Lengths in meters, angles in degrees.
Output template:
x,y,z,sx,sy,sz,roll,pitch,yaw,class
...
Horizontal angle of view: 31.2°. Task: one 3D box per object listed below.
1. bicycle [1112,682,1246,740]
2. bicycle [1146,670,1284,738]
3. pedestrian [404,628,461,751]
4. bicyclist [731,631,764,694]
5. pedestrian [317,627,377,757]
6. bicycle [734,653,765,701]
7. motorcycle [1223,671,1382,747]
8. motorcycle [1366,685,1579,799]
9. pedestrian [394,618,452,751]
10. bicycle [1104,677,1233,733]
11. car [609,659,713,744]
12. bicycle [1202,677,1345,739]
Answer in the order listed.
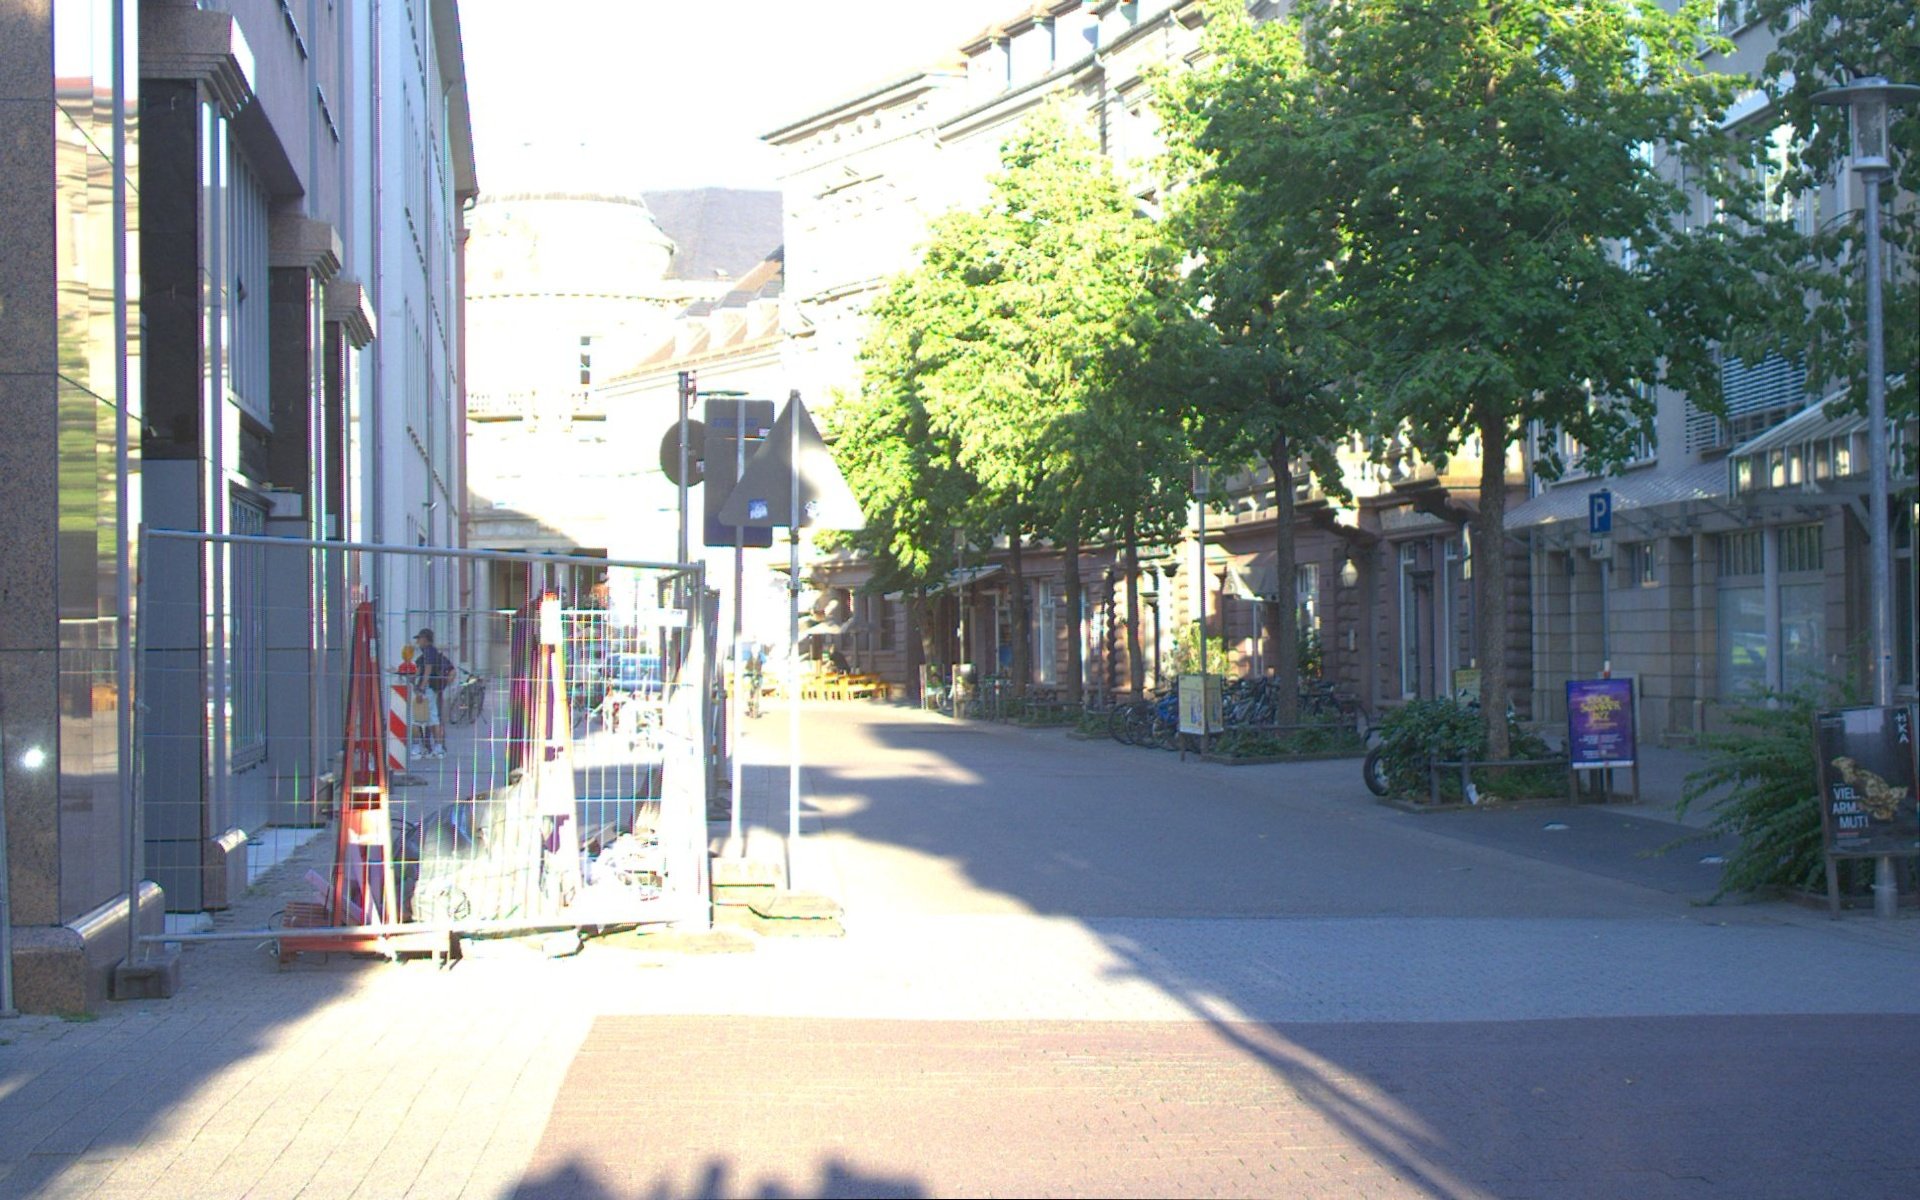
x,y,z,sx,sy,sz,roll,pitch,yaw,class
3.710,1.875,58.212,2.152,0.923,0.591,-1,-2,-11,bicycle
4.147,1.692,55.886,2.154,1.057,0.590,-2,-2,10,bicycle
-7.183,1.217,46.840,0.654,1.646,0.634,-1,-1,0,pedestrian
-4.995,1.474,80.848,0.721,1.463,0.718,-1,-1,-6,bicyclist
-8.204,1.228,46.039,0.654,1.720,0.634,-1,-1,0,pedestrian
-4.972,1.816,80.980,0.588,1.091,2.160,-1,-1,-7,bicycle
5.275,1.671,52.953,2.470,1.091,0.591,-1,-2,-26,motorcycle
5.457,1.512,36.631,2.152,1.147,0.494,-1,-2,-7,motorcycle
-7.224,1.133,46.268,0.654,1.758,0.634,-1,-1,0,pedestrian
3.663,1.844,60.333,2.152,0.923,0.591,-1,-2,-11,bicycle
-6.253,2.085,71.583,1.841,1.678,3.645,-1,-1,-9,car
4.935,1.696,54.087,2.152,0.923,0.591,-1,-2,-19,bicycle
